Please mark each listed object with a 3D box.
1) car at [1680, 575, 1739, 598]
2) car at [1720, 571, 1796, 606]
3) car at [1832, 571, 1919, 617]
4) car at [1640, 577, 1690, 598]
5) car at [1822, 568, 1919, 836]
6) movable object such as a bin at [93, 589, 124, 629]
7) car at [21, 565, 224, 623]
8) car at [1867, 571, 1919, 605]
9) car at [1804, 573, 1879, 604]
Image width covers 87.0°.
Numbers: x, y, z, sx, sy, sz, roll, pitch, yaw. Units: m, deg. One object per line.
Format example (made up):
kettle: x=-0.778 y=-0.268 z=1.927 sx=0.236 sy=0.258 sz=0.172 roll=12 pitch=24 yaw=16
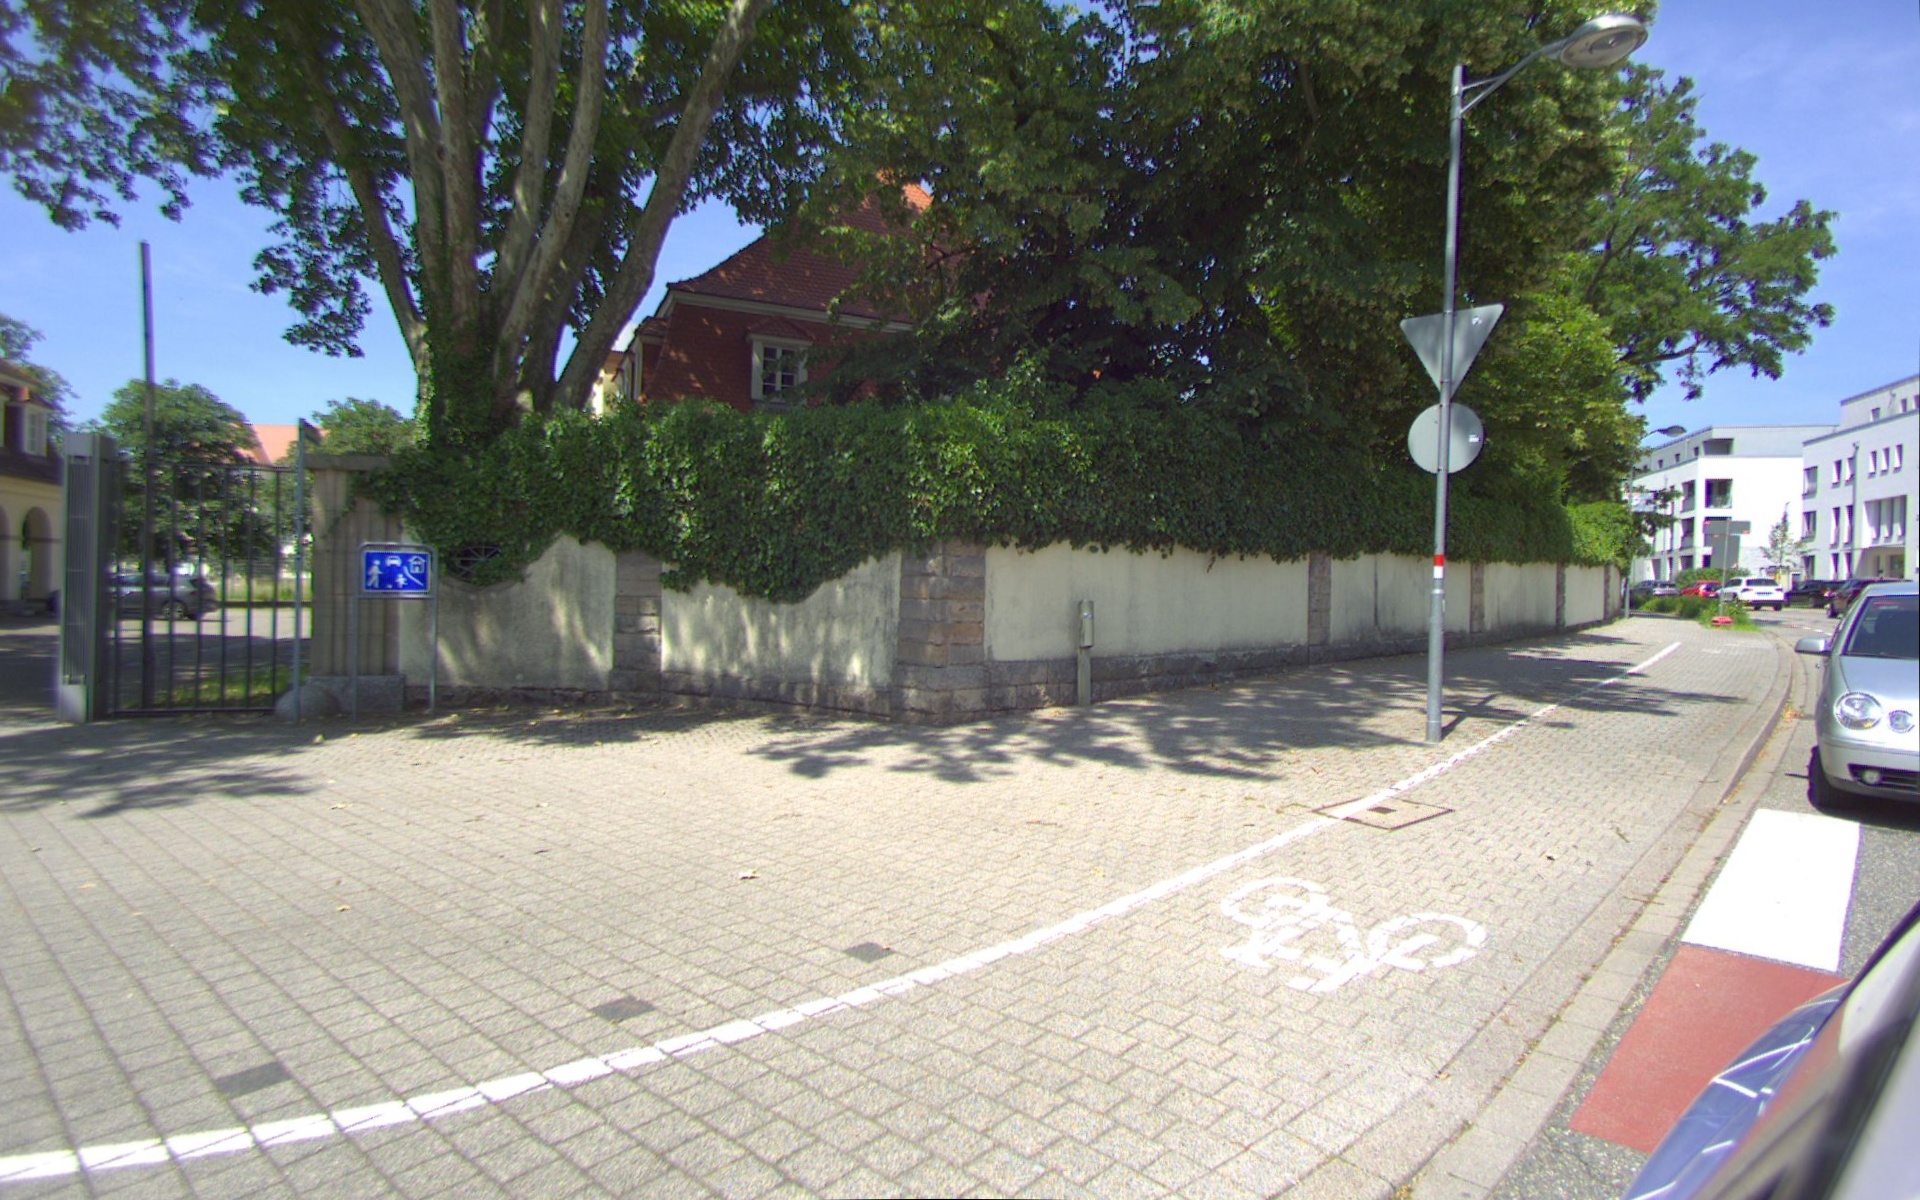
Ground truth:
car: x=48.204 y=-0.891 z=65.171 sx=1.682 sy=1.431 sz=3.707 roll=0 pitch=1 yaw=13
car: x=38.695 y=-0.572 z=49.175 sx=1.795 sy=1.628 sz=4.090 roll=0 pitch=1 yaw=22
car: x=32.574 y=-0.237 z=35.802 sx=1.740 sy=1.523 sz=3.954 roll=0 pitch=1 yaw=28
car: x=49.700 y=-0.892 z=71.418 sx=1.682 sy=1.431 sz=3.707 roll=0 pitch=1 yaw=13
car: x=6.880 y=0.520 z=6.704 sx=1.603 sy=1.470 sz=3.938 roll=1 pitch=2 yaw=43
movable object such as a bin: x=-22.414 y=0.228 z=26.631 sx=0.524 sy=1.021 sz=0.531 roll=0 pitch=1 yaw=39
car: x=-26.111 y=-0.186 z=31.748 sx=4.406 sy=1.420 sz=2.004 roll=5 pitch=-1 yaw=-20
car: x=41.515 y=-0.541 z=44.267 sx=1.689 sy=1.431 sz=3.690 roll=0 pitch=1 yaw=25
car: x=43.674 y=-0.593 z=50.222 sx=1.688 sy=1.431 sz=3.694 roll=0 pitch=1 yaw=23
